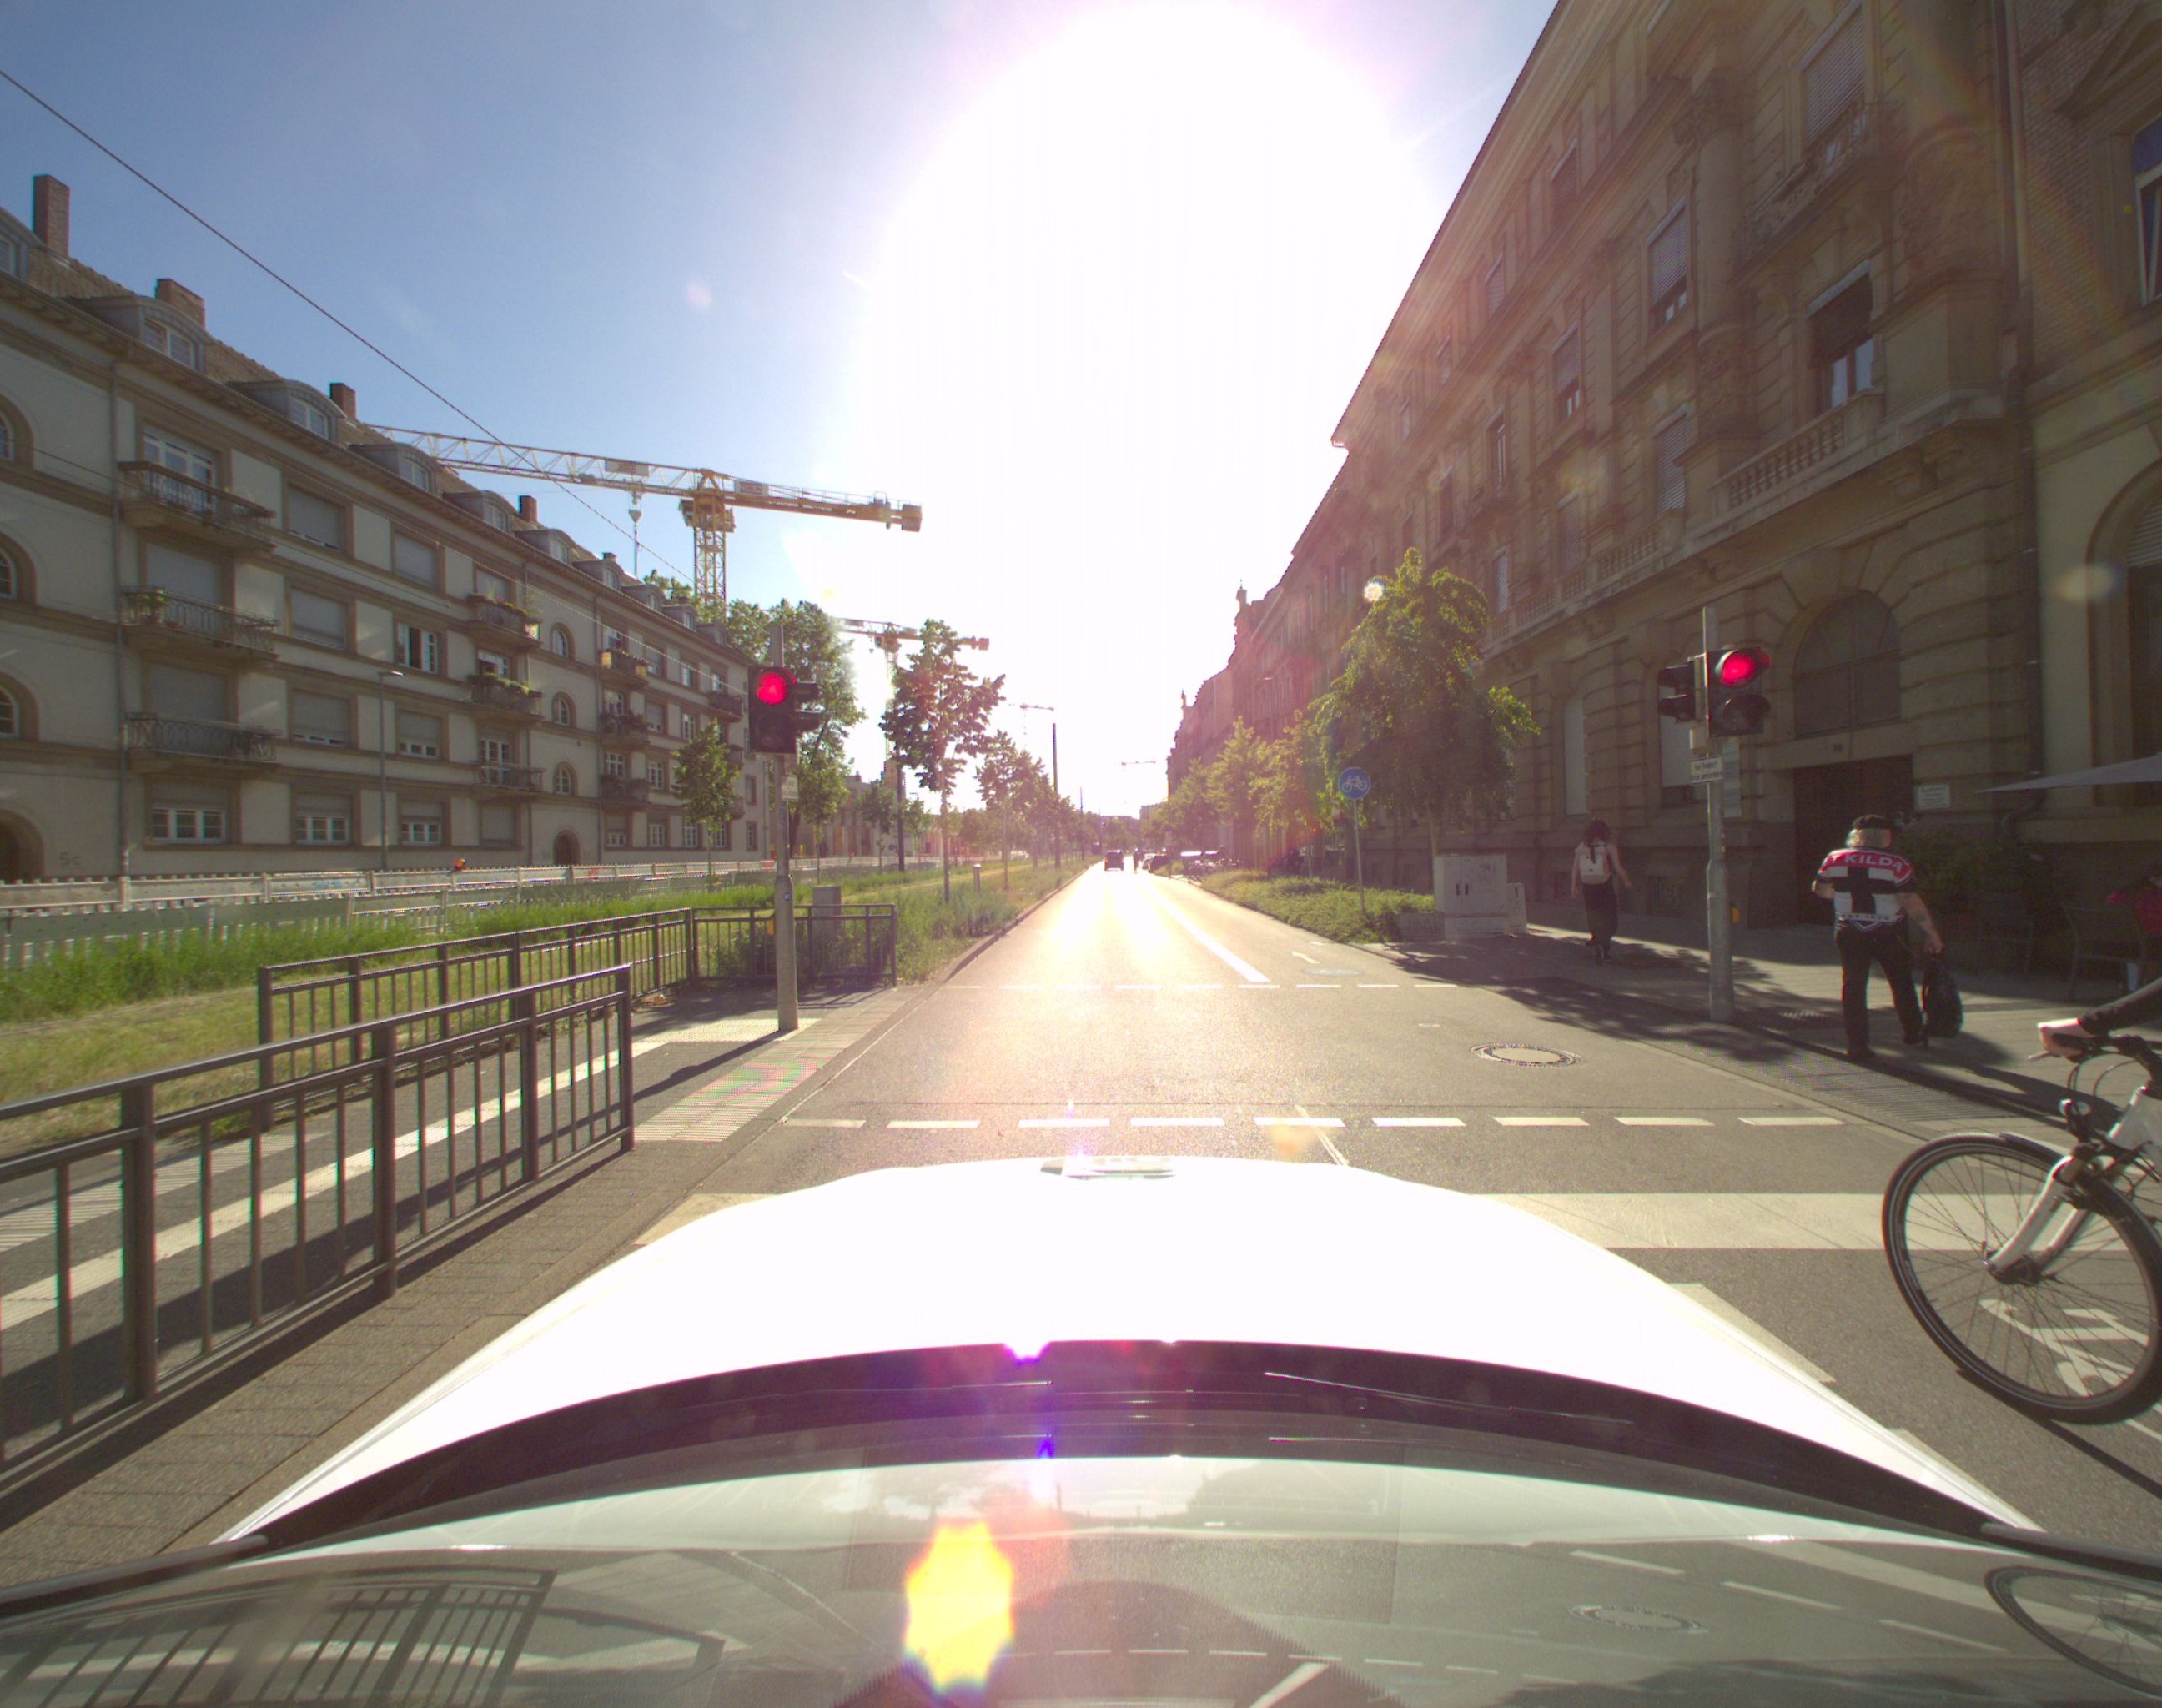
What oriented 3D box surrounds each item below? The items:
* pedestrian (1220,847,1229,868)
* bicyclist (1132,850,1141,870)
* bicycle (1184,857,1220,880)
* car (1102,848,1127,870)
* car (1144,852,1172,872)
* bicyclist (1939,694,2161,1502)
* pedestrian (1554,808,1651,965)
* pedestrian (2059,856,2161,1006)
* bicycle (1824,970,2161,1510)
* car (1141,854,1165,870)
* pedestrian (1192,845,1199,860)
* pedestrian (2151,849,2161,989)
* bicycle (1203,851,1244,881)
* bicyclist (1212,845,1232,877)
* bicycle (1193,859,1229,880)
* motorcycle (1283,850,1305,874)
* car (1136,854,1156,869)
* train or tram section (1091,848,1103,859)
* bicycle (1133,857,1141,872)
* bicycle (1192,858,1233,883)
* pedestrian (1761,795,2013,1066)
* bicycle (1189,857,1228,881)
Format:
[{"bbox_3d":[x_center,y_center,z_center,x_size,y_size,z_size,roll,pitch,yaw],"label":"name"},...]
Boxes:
[{"bbox_3d":[11.516,0.267,65.242,0.611,1.611,0.669,-2,0,1],"label":"pedestrian"},{"bbox_3d":[4.595,0.511,67.181,0.682,1.673,0.922,0,0,1],"label":"bicyclist"},{"bbox_3d":[6.521,0.766,43.914,1.786,1.030,0.528,-6,0,1],"label":"bicycle"},{"bbox_3d":[3.151,0.434,76.456,2.192,1.926,4.655,-2,0,2],"label":"car"},{"bbox_3d":[6.320,0.643,67.358,2.020,1.499,4.655,-2,0,2],"label":"car"},{"bbox_3d":[2.681,0.518,1.747,0.776,1.711,0.869,0,0,1],"label":"bicyclist"},{"bbox_3d":[6.722,0.385,10.495,1.083,1.908,0.646,-2,0,-35],"label":"pedestrian"},{"bbox_3d":[9.104,0.630,6.944,0.703,1.178,0.635,-3,0,1],"label":"pedestrian"},{"bbox_3d":[2.716,0.935,1.794,0.555,1.092,1.793,0,0,1],"label":"bicycle"},{"bbox_3d":[6.984,0.744,79.778,2.020,1.499,4.532,-2,0,2],"label":"car"},{"bbox_3d":[12.671,-0.147,89.988,0.611,1.611,0.669,-2,0,1],"label":"pedestrian"},{"bbox_3d":[9.889,0.557,6.914,0.703,1.236,0.635,-3,0,1],"label":"pedestrian"},{"bbox_3d":[7.165,0.597,41.106,1.885,1.330,0.618,-6,0,4],"label":"bicycle"},{"bbox_3d":[7.098,0.325,41.101,0.794,1.530,0.663,-6,0,5],"label":"bicyclist"},{"bbox_3d":[6.770,0.829,42.484,1.786,1.030,0.528,-2,0,1],"label":"bicycle"},{"bbox_3d":[11.499,0.405,44.031,0.697,1.267,1.983,-2,0,2],"label":"motorcycle"},{"bbox_3d":[7.327,0.839,92.306,2.020,1.499,4.532,-2,0,2],"label":"car"},{"bbox_3d":[4.029,-0.074,203.714,2.744,2.743,9.873,0,-1,4],"label":"train or tram section"},{"bbox_3d":[4.584,0.844,66.907,0.599,1.181,1.870,0,0,1],"label":"bicycle"},{"bbox_3d":[6.383,0.812,39.585,1.786,1.030,0.528,-6,0,1],"label":"bicycle"},{"bbox_3d":[5.787,0.502,5.916,0.863,1.788,0.969,-1,0,-5],"label":"pedestrian"},{"bbox_3d":[6.414,0.755,40.908,1.786,1.030,0.528,-6,0,1],"label":"bicycle"}]
